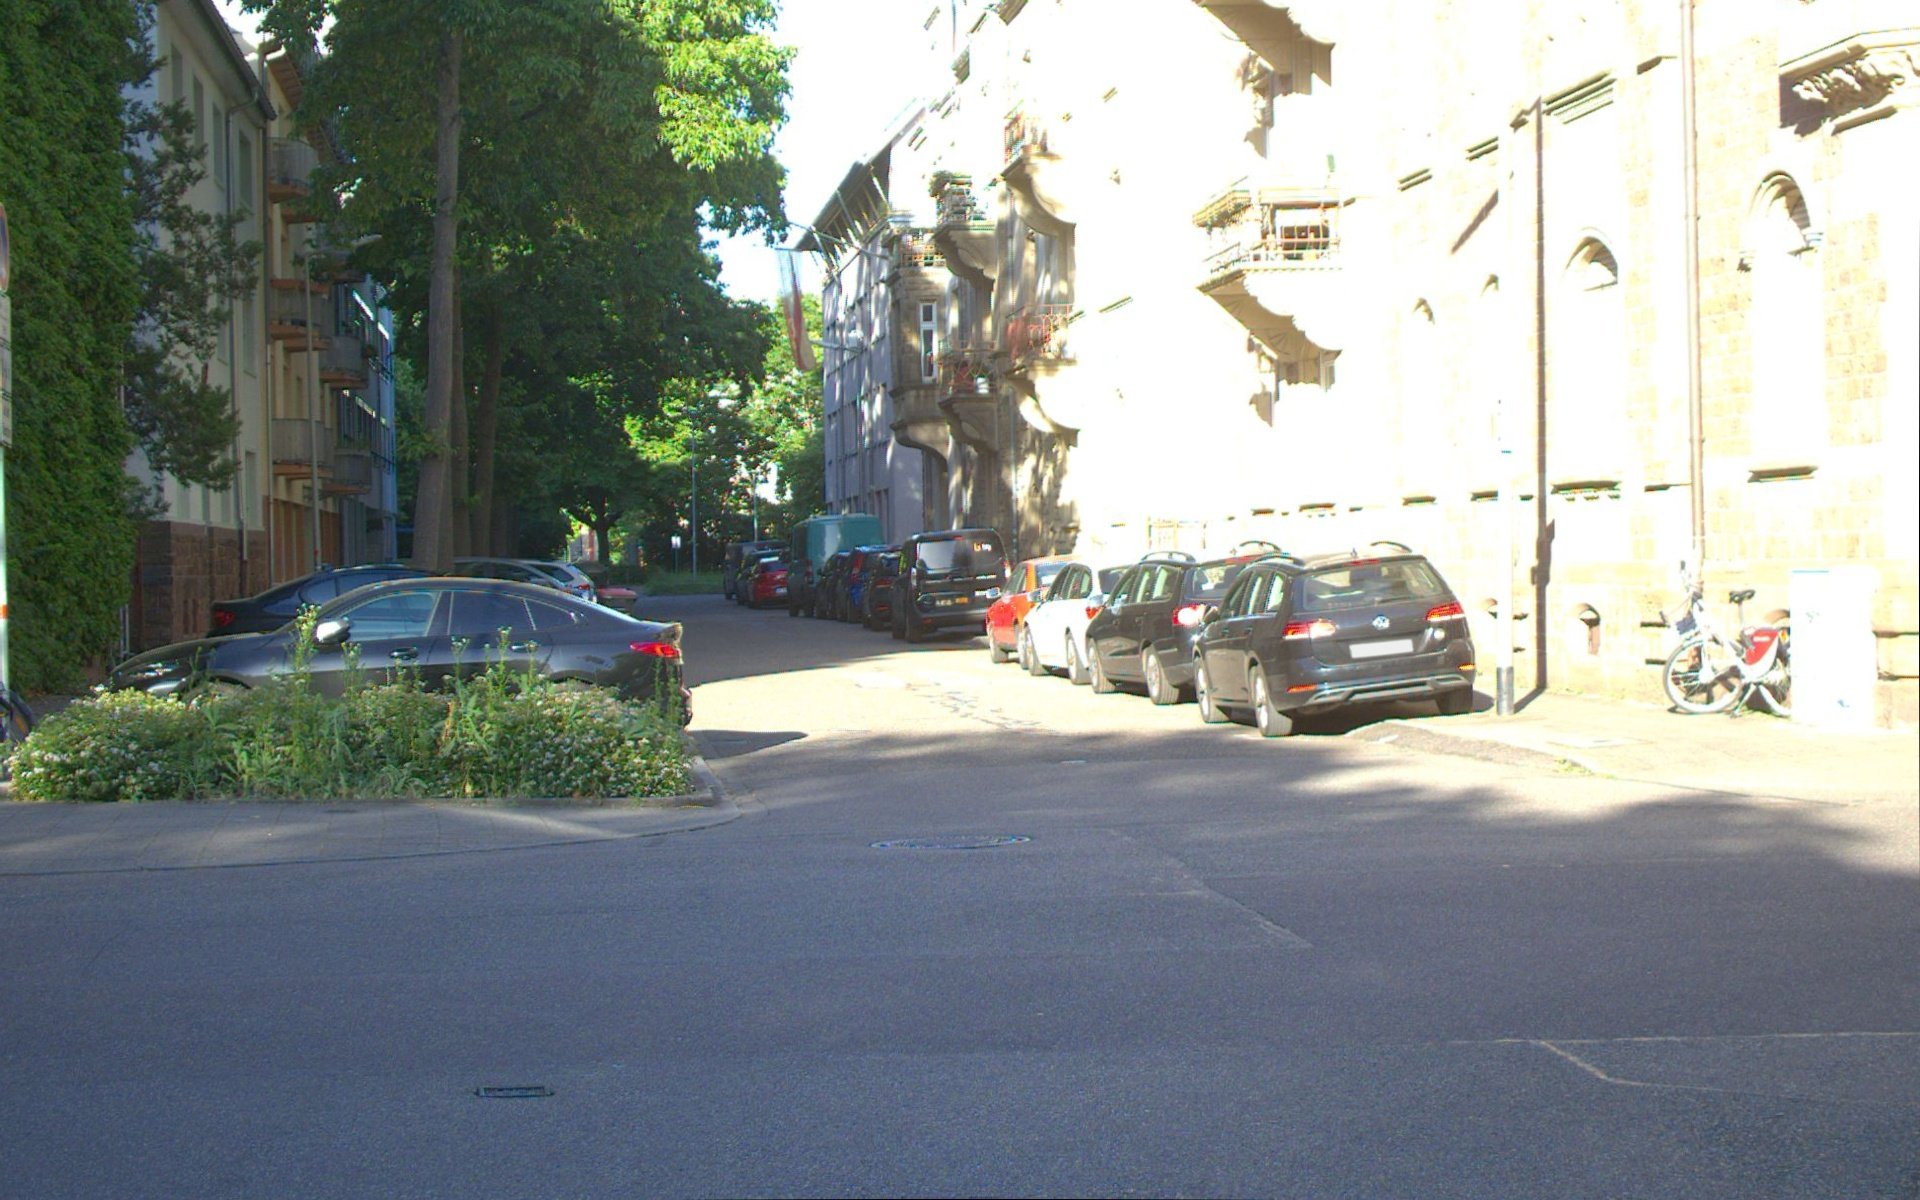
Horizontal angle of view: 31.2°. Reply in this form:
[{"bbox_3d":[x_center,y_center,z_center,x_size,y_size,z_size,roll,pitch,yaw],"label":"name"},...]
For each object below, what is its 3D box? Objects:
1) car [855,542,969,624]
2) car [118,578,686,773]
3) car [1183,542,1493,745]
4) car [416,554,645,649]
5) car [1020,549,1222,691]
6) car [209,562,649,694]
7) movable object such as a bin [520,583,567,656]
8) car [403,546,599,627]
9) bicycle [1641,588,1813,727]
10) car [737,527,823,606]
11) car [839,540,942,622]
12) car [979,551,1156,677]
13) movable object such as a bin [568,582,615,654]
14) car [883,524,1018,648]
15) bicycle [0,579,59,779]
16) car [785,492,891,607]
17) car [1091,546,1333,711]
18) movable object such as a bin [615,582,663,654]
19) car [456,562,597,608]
[{"bbox_3d":[-0.952,-0.335,65.951,1.802,1.509,4.001,0,1,-7],"label":"car"},{"bbox_3d":[-4.346,0.556,27.037,4.242,1.430,2.000,0,1,-8],"label":"car"},{"bbox_3d":[3.097,0.319,28.910,1.737,1.576,4.001,0,1,-7],"label":"car"},{"bbox_3d":[-7.349,0.016,58.704,3.800,1.570,1.710,0,1,-10],"label":"car"},{"bbox_3d":[1.838,0.201,40.396,1.737,1.576,4.001,0,1,-7],"label":"car"},{"bbox_3d":[-6.012,0.295,39.137,4.833,1.430,1.710,0,1,-8],"label":"car"},{"bbox_3d":[-6.118,0.282,50.443,0.629,1.049,0.568,0,0,-12],"label":"movable object such as a bin"},{"bbox_3d":[-9.135,-0.282,68.396,3.800,1.570,1.710,0,1,-8],"label":"car"},{"bbox_3d":[5.701,0.411,25.625,0.514,0.994,1.576,0,1,-18],"label":"bicycle"},{"bbox_3d":[-5.249,-0.978,99.788,2.165,2.229,4.792,0,1,-7],"label":"car"},{"bbox_3d":[-1.497,-0.415,72.536,1.802,1.673,4.001,0,1,-7],"label":"car"},{"bbox_3d":[1.361,0.152,45.100,1.737,1.576,4.001,0,1,-7],"label":"car"},{"bbox_3d":[-5.431,0.267,50.616,0.629,1.049,0.568,0,0,-12],"label":"movable object such as a bin"},{"bbox_3d":[-0.195,-0.250,57.483,1.802,1.997,4.001,0,1,-7],"label":"car"},{"bbox_3d":[-6.448,0.511,22.619,0.563,1.264,1.603,-2,1,1],"label":"bicycle"},{"bbox_3d":[-2.973,-1.218,82.782,2.165,2.681,4.792,0,1,-7],"label":"car"},{"bbox_3d":[2.502,0.255,35.056,1.737,1.576,4.001,0,1,-7],"label":"car"},{"bbox_3d":[-4.734,0.266,50.721,0.629,1.049,0.568,0,0,-12],"label":"movable object such as a bin"},{"bbox_3d":[-11.906,-0.423,94.346,3.800,1.236,1.710,0,1,-8],"label":"car"}]
